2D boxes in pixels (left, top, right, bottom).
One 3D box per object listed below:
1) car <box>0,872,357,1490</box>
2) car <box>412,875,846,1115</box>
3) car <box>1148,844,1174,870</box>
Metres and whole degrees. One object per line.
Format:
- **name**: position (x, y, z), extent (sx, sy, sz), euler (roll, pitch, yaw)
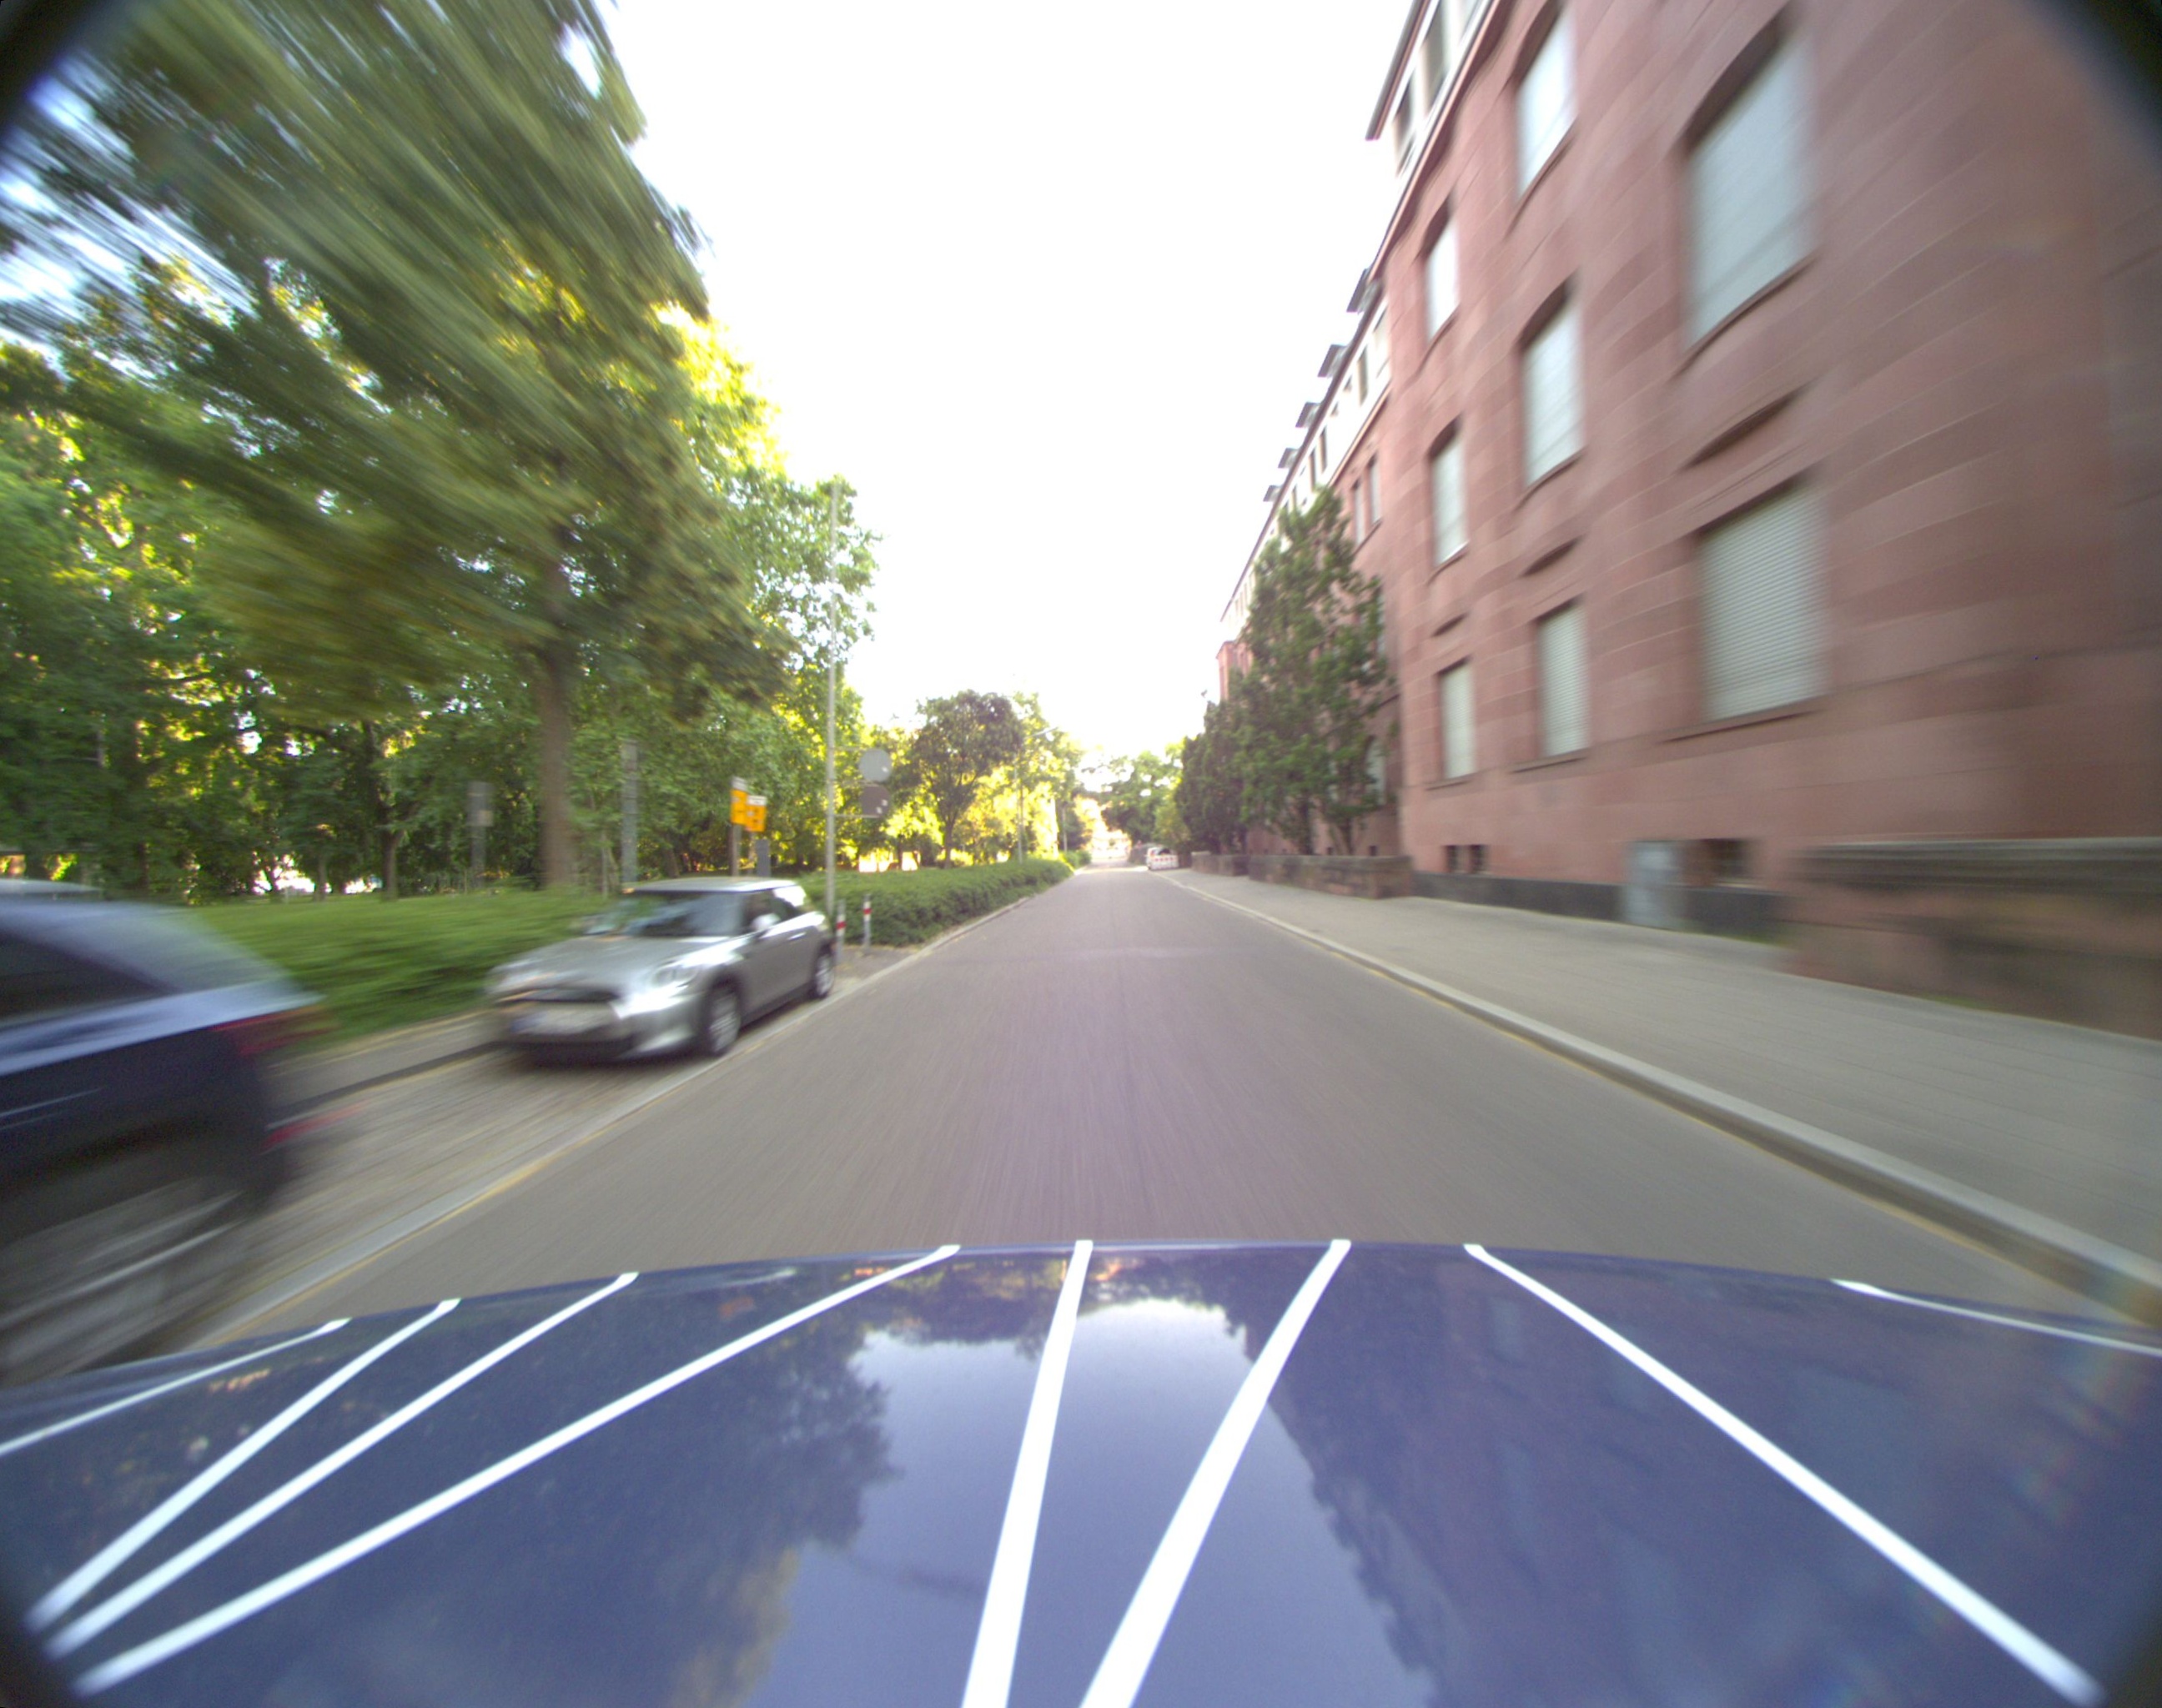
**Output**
- **car**: position (-4.032, 0.992, 0.782), extent (1.886, 1.678, 4.694), euler (-2, 1, 2)
- **car**: position (-3.764, 1.044, 7.305), extent (1.728, 1.430, 3.999), euler (-2, 1, 0)
- **car**: position (6.973, 0.238, 66.378), extent (1.886, 2.040, 4.324), euler (-2, 1, 2)
